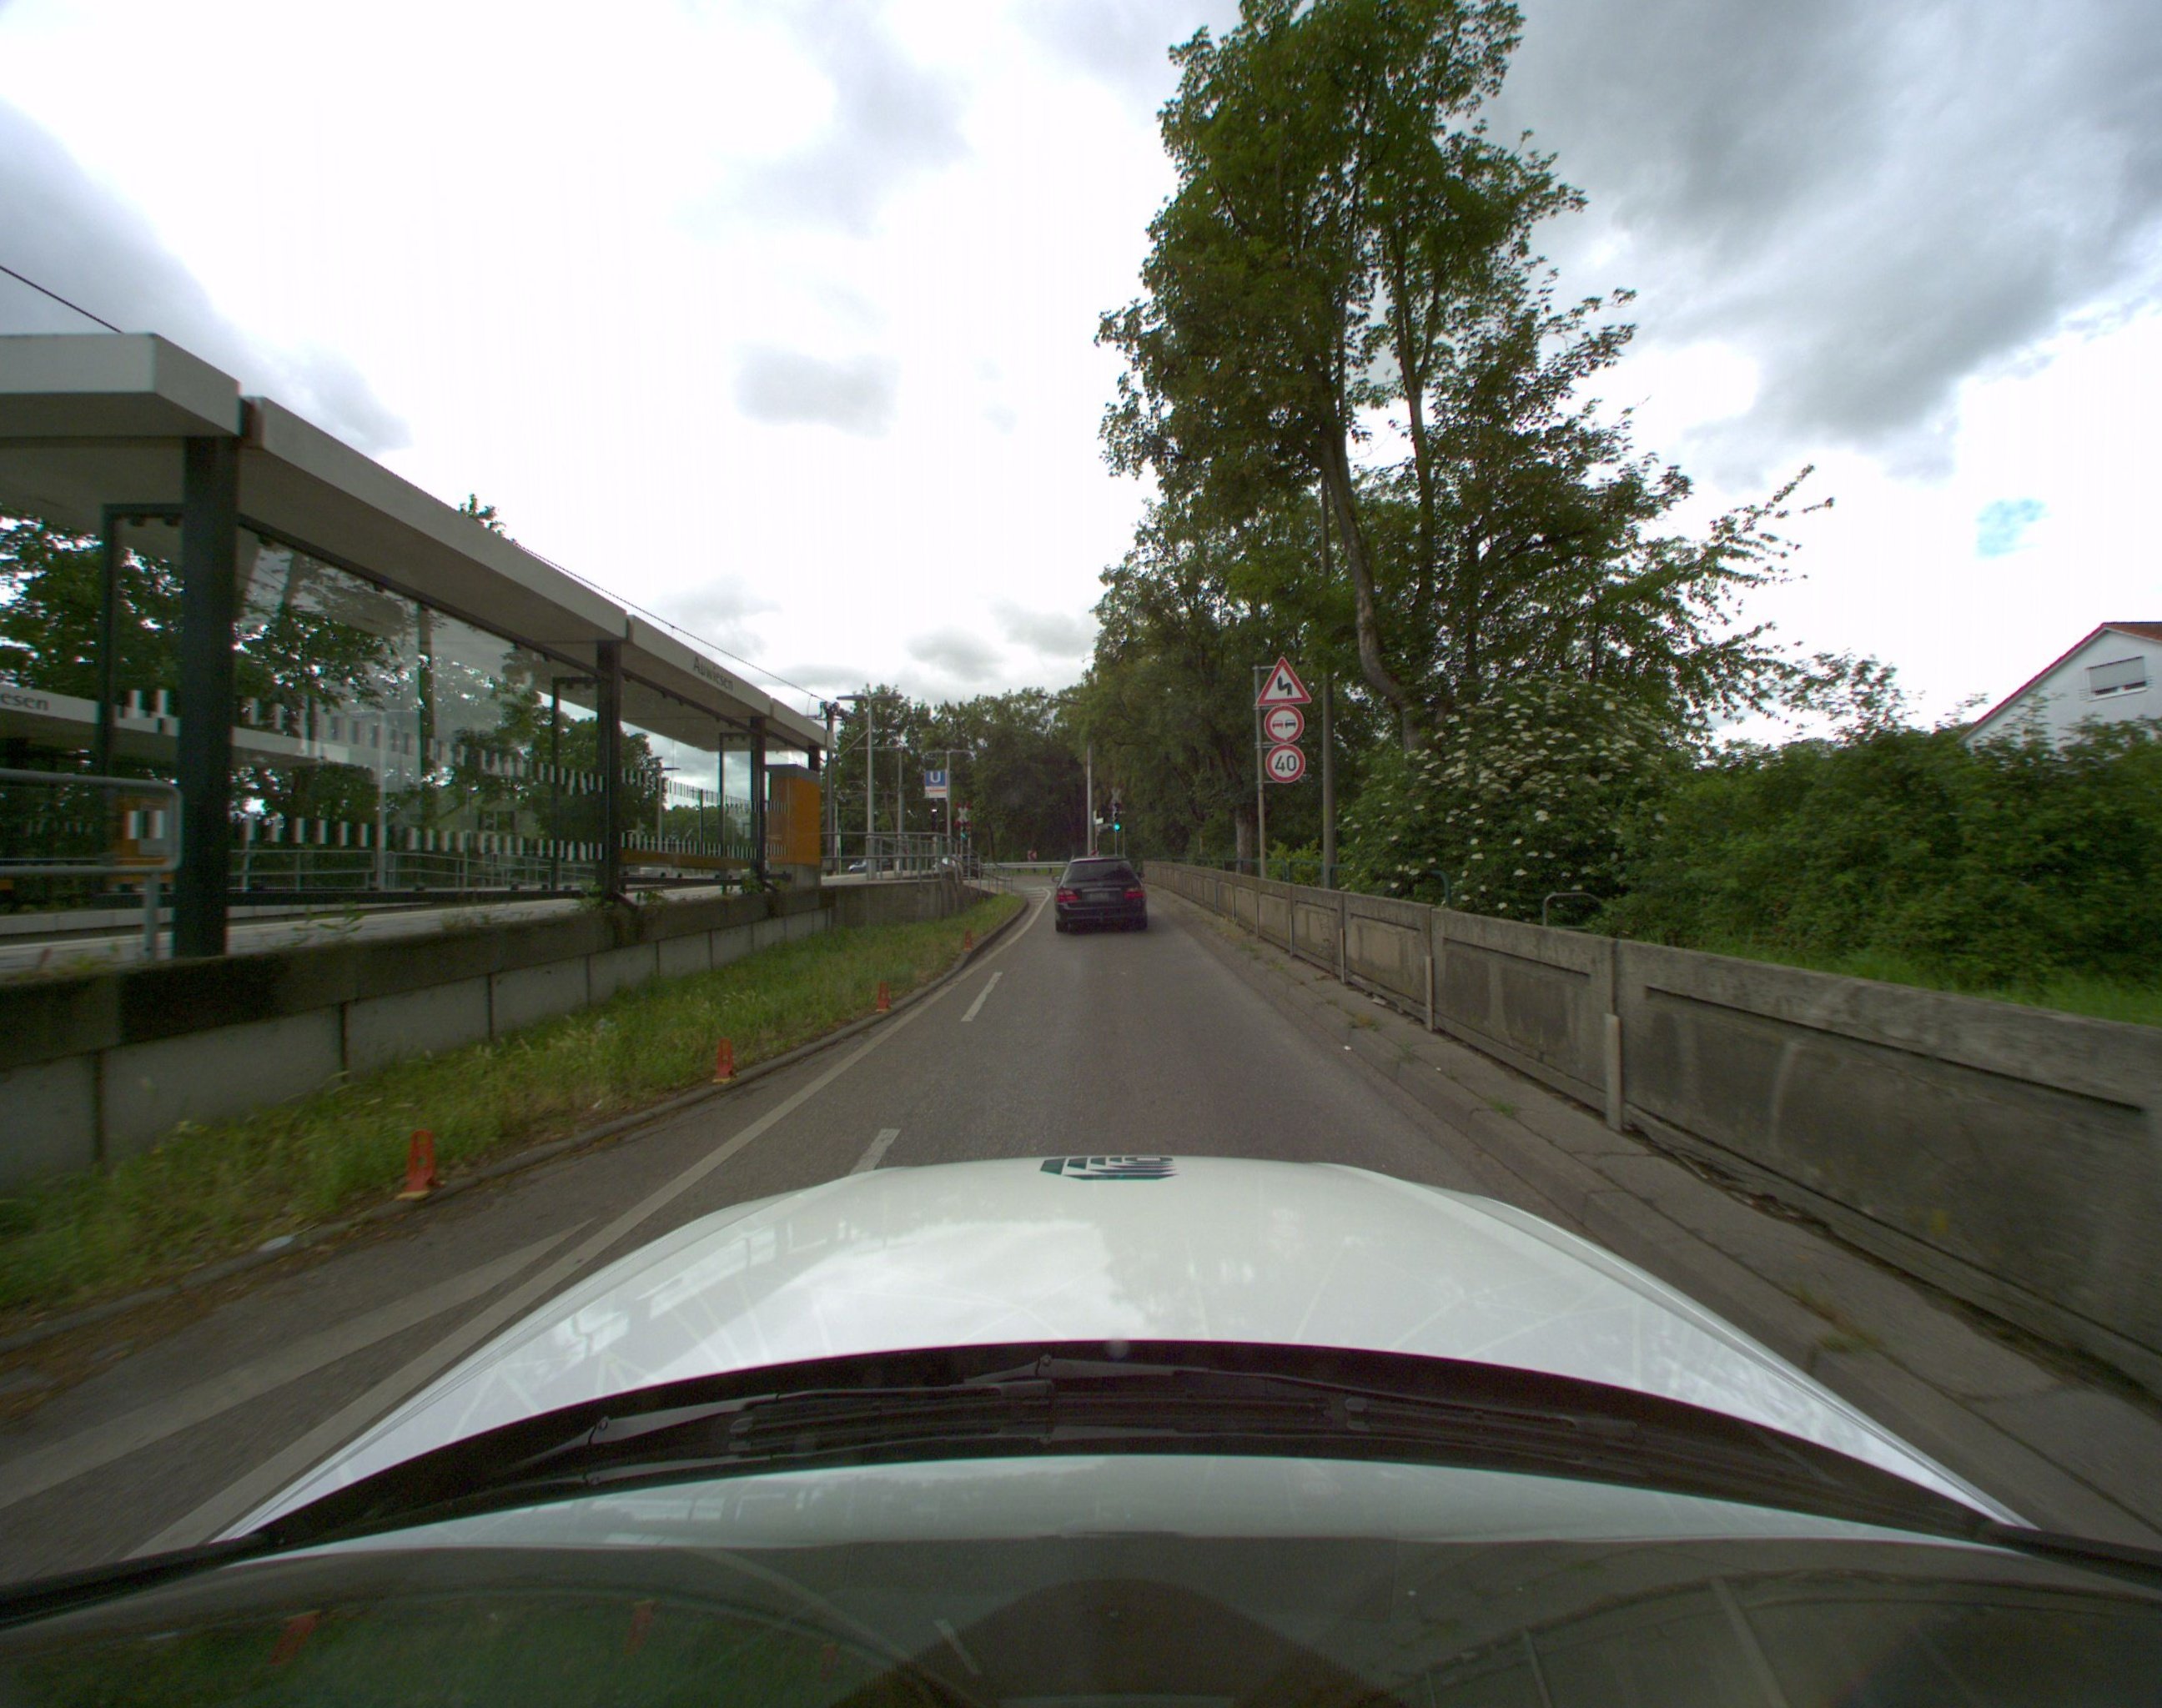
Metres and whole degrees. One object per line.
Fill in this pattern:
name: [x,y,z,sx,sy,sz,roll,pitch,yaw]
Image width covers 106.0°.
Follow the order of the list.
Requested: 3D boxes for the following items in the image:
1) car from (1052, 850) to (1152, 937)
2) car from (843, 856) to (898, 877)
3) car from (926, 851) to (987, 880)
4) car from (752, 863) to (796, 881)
car: [0.317,0.707,16.890,1.777,1.525,3.997,-2,0,-2]
car: [-14.939,0.873,57.802,3.950,1.399,2.012,-1,0,45]
car: [-7.527,0.699,48.839,1.797,1.648,3.953,-1,0,-40]
car: [-25.676,1.452,68.058,3.950,1.399,2.012,-1,0,44]
